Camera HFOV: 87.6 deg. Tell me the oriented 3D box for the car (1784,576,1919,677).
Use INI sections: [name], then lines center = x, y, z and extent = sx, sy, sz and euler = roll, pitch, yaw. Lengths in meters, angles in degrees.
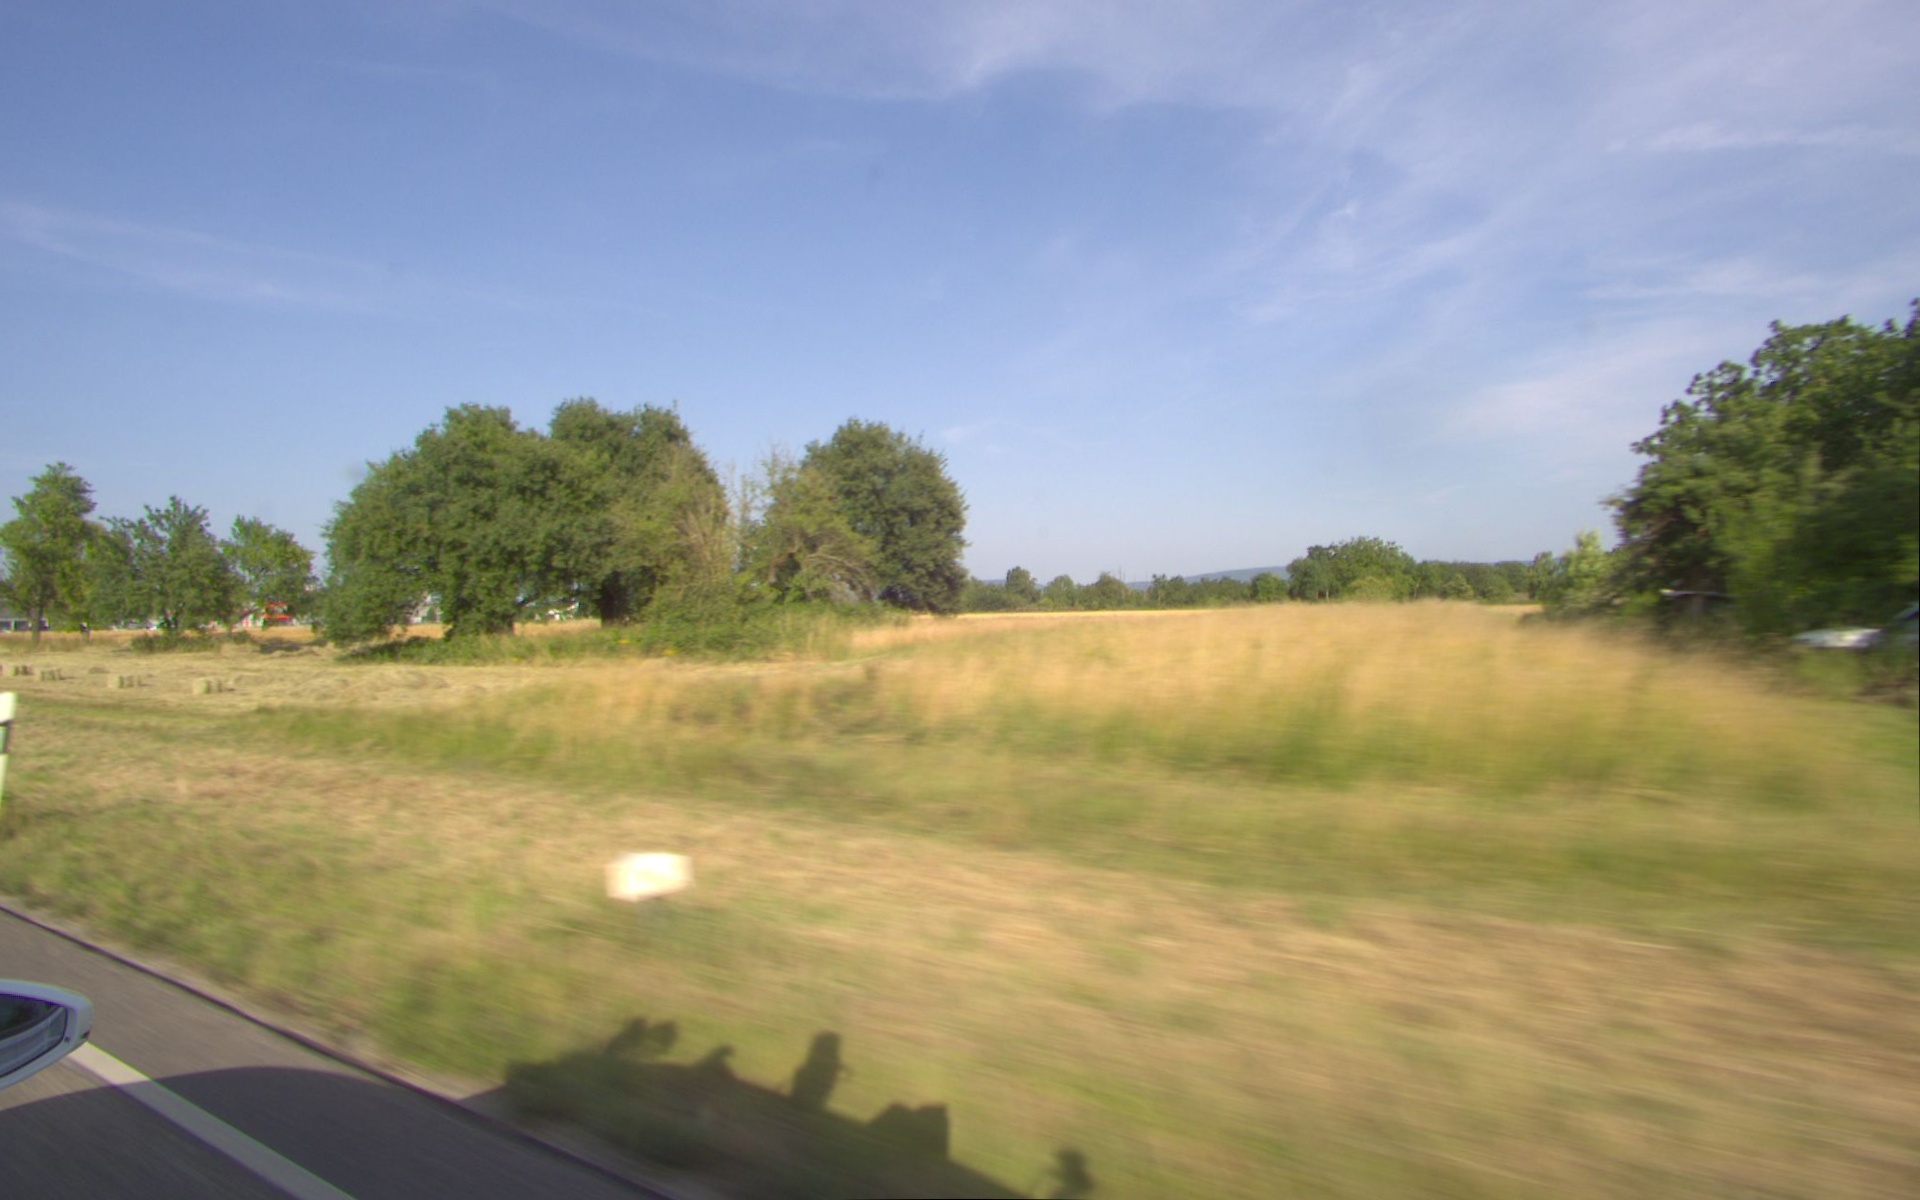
[car]
center = 17.700, 0.475, 18.213
extent = 3.943, 1.772, 1.990
euler = -1, -1, 32
